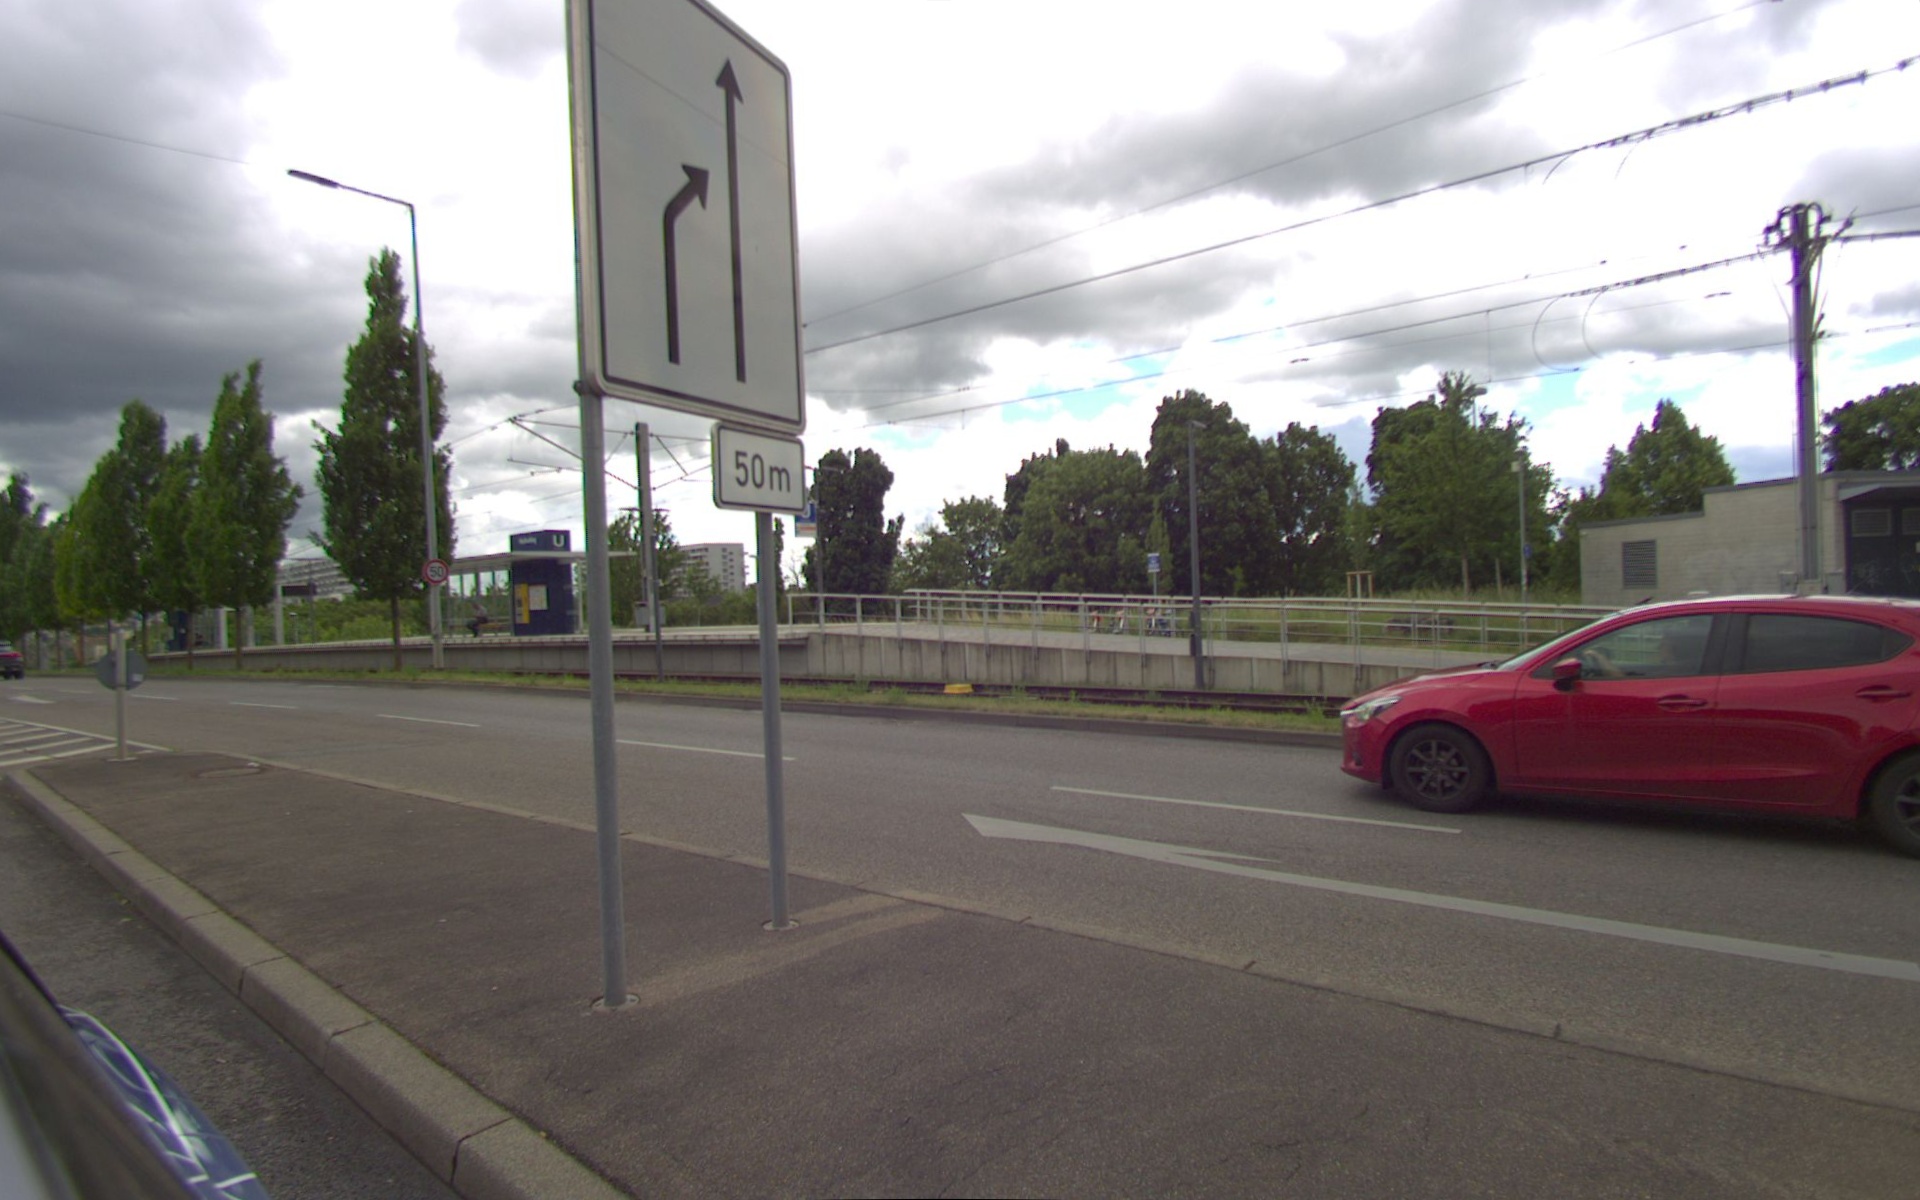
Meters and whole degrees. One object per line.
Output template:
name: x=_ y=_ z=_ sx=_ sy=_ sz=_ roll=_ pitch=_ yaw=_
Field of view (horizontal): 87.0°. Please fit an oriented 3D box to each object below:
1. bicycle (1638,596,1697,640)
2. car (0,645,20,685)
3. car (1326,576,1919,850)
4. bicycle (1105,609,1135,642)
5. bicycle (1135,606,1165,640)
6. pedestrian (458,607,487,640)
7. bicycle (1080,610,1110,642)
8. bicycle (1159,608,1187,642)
bicycle: x=18.198 y=0.456 z=26.057 sx=0.486 sy=1.095 sz=1.480 roll=-1 pitch=-1 yaw=3
car: x=-40.165 y=2.655 z=41.514 sx=4.220 sy=1.558 sz=1.761 roll=-2 pitch=-1 yaw=39
car: x=4.915 y=0.623 z=6.630 sx=4.417 sy=1.454 sz=1.765 roll=-1 pitch=-1 yaw=36
bicycle: x=5.444 y=0.866 z=34.458 sx=0.490 sy=1.095 sz=1.466 roll=-2 pitch=-1 yaw=30
bicycle: x=6.383 y=0.760 z=33.948 sx=0.490 sy=1.095 sz=1.466 roll=-2 pitch=-1 yaw=30
pedestrian: x=-18.246 y=0.877 z=37.875 sx=0.781 sy=1.211 sz=0.656 roll=-2 pitch=-1 yaw=33
bicycle: x=4.687 y=0.893 z=35.160 sx=0.490 sy=1.095 sz=1.466 roll=-2 pitch=-1 yaw=30
bicycle: x=7.050 y=0.814 z=33.467 sx=0.490 sy=1.095 sz=1.466 roll=-2 pitch=-1 yaw=30
